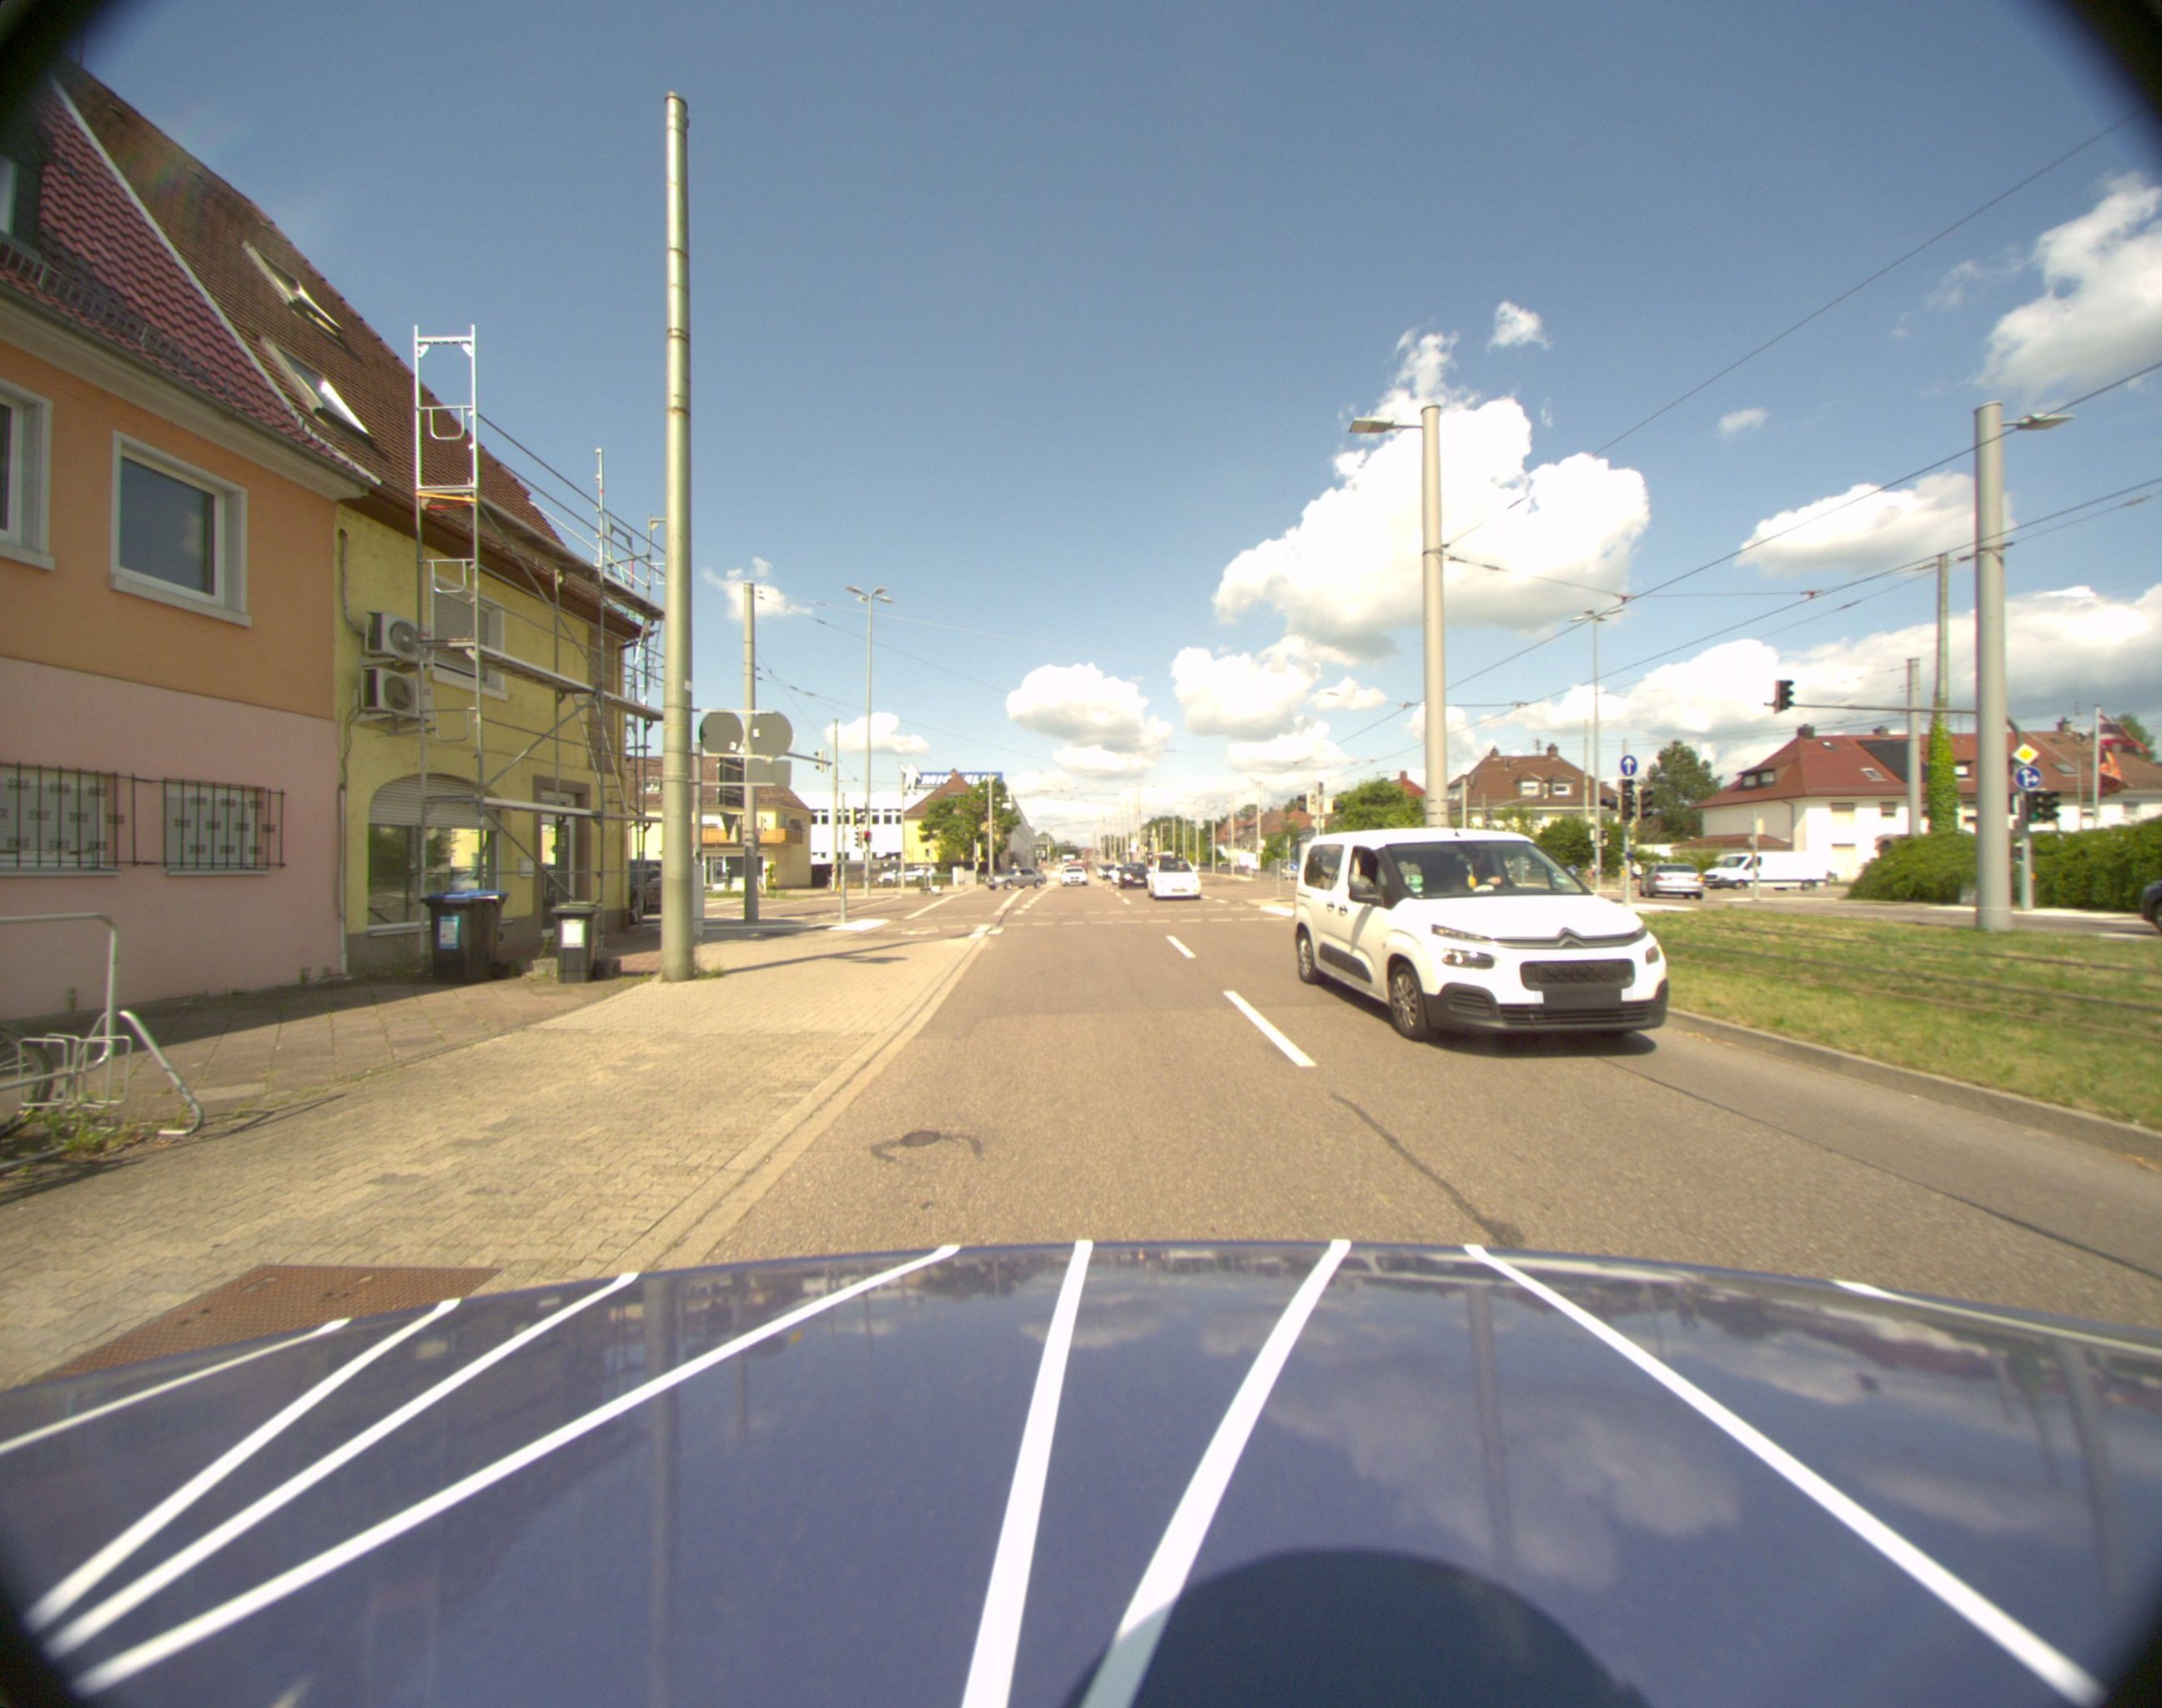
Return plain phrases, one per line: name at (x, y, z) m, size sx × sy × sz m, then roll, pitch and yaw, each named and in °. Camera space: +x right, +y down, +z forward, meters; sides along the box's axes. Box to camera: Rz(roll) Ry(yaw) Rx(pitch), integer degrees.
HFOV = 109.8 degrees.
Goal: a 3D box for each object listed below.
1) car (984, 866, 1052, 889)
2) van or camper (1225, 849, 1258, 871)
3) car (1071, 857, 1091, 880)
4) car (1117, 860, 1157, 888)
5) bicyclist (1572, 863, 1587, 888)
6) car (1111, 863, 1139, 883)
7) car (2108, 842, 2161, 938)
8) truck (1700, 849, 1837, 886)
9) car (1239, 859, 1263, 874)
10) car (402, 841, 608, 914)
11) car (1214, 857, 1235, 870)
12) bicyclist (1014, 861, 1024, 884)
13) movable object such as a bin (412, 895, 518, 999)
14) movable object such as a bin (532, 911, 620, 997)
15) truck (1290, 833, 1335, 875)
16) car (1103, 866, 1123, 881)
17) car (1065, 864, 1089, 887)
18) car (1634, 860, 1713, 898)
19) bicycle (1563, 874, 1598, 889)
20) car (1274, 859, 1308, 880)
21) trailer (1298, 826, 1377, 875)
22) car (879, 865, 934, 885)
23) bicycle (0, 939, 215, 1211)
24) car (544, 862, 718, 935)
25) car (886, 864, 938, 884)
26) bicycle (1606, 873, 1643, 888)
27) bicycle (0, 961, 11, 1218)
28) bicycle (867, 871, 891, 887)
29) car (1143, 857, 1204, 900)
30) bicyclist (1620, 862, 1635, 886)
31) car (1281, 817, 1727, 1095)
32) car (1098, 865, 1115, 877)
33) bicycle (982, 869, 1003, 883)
car at (-4.180, 1.564, 50.677) m, size 1.722 × 1.389 × 4.472 m, roll -2°, pitch -1°, yaw 43°
van or camper at (21.685, 0.803, 103.196) m, size 2.330 × 2.912 × 7.752 m, roll -1°, pitch 0°, yaw -3°
car at (-0.029, 1.376, 74.224) m, size 1.788 × 2.134 × 5.168 m, roll -2°, pitch 0°, yaw -2°
car at (3.029, 1.065, 41.598) m, size 1.680 × 1.413 × 3.557 m, roll -2°, pitch 0°, yaw -3°
bicyclist at (31.153, 1.340, 47.505) m, size 0.501 × 1.489 × 0.602 m, roll -2°, pitch 1°, yaw 2°
car at (3.263, 1.380, 57.247) m, size 1.698 × 1.350 × 4.498 m, roll -2°, pitch 0°, yaw -2°
car at (20.381, 0.652, 11.845) m, size 2.020 × 1.701 × 4.936 m, roll 0°, pitch 0°, yaw -1°
truck at (39.796, 0.752, 44.061) m, size 6.199 × 1.910 × 1.690 m, roll -2°, pitch 0°, yaw 3°
car at (19.031, 1.379, 85.241) m, size 1.799 × 1.627 × 4.472 m, roll 0°, pitch 0°, yaw 2°
car at (-14.319, 0.538, 19.260) m, size 1.998 × 1.586 × 4.131 m, roll -2°, pitch 0°, yaw 0°
car at (18.835, 1.255, 99.950) m, size 1.998 × 1.543 × 4.178 m, roll 3°, pitch 0°, yaw 1°
bicyclist at (-4.810, 1.424, 58.788) m, size 0.652 × 1.727 × 0.983 m, roll -2°, pitch 0°, yaw -7°
movable object such as a bin at (-7.165, 1.056, 8.880) m, size 0.512 × 1.099 × 0.855 m, roll -1°, pitch 0°, yaw 1°
movable object such as a bin at (-5.949, 1.157, 8.982) m, size 0.512 × 0.913 × 0.741 m, roll -1°, pitch 0°, yaw 1°
truck at (22.205, 0.086, 73.068) m, size 2.605 × 3.798 × 5.668 m, roll 2°, pitch -1°, yaw 1°
car at (3.198, 1.993, 77.508) m, size 1.698 × 1.350 × 4.498 m, roll -2°, pitch 0°, yaw -2°
car at (-0.350, 1.562, 57.220) m, size 1.664 × 1.564 × 3.999 m, roll -2°, pitch 0°, yaw -2°
car at (23.750, 0.940, 30.605) m, size 1.795 × 1.379 × 4.480 m, roll 1°, pitch 0°, yaw 29°
bicycle at (31.225, 1.731, 47.509) m, size 1.808 × 0.830 × 0.602 m, roll -2°, pitch 0°, yaw 2°
car at (19.294, 1.390, 69.951) m, size 1.799 × 1.804 × 4.712 m, roll 0°, pitch 0°, yaw 0°
trailer at (22.124, -0.107, 66.592) m, size 2.605 × 3.798 × 12.839 m, roll 2°, pitch -1°, yaw 1°
car at (-14.187, 1.704, 61.872) m, size 4.118 × 1.587 × 1.800 m, roll -1°, pitch -1°, yaw -6°
bicycle at (-6.019, 1.005, 3.701) m, size 2.668 × 1.098 × 0.786 m, roll 1°, pitch 0°, yaw -1°
car at (-11.465, 1.049, 19.764) m, size 1.998 × 1.586 × 4.131 m, roll -2°, pitch 0°, yaw 0°
car at (-14.299, 1.691, 64.573) m, size 4.118 × 1.587 × 1.800 m, roll -1°, pitch -1°, yaw -6°
bicycle at (33.924, 1.637, 47.427) m, size 1.808 × 0.830 × 0.602 m, roll -2°, pitch 0°, yaw 2°
bicycle at (-6.054, 1.011, 2.970) m, size 2.733 × 1.113 × 0.691 m, roll 1°, pitch 0°, yaw -1°
bicycle at (-14.415, 1.780, 54.296) m, size 1.576 × 1.131 × 0.380 m, roll -2°, pitch 1°, yaw -28°
car at (3.433, 0.883, 28.617) m, size 1.680 × 1.495 × 3.393 m, roll -2°, pitch 0°, yaw -3°
bicyclist at (34.114, 1.237, 47.419) m, size 0.501 × 1.489 × 0.602 m, roll -2°, pitch 1°, yaw 2°
car at (3.408, 0.686, 7.259) m, size 1.799 × 1.804 × 4.329 m, roll -2°, pitch 0°, yaw 0°
car at (3.032, 2.043, 91.889) m, size 1.698 × 1.350 × 4.498 m, roll -2°, pitch 0°, yaw -2°
bicycle at (-7.087, 1.779, 60.787) m, size 0.462 × 1.012 × 1.759 m, roll -2°, pitch 0°, yaw 40°
